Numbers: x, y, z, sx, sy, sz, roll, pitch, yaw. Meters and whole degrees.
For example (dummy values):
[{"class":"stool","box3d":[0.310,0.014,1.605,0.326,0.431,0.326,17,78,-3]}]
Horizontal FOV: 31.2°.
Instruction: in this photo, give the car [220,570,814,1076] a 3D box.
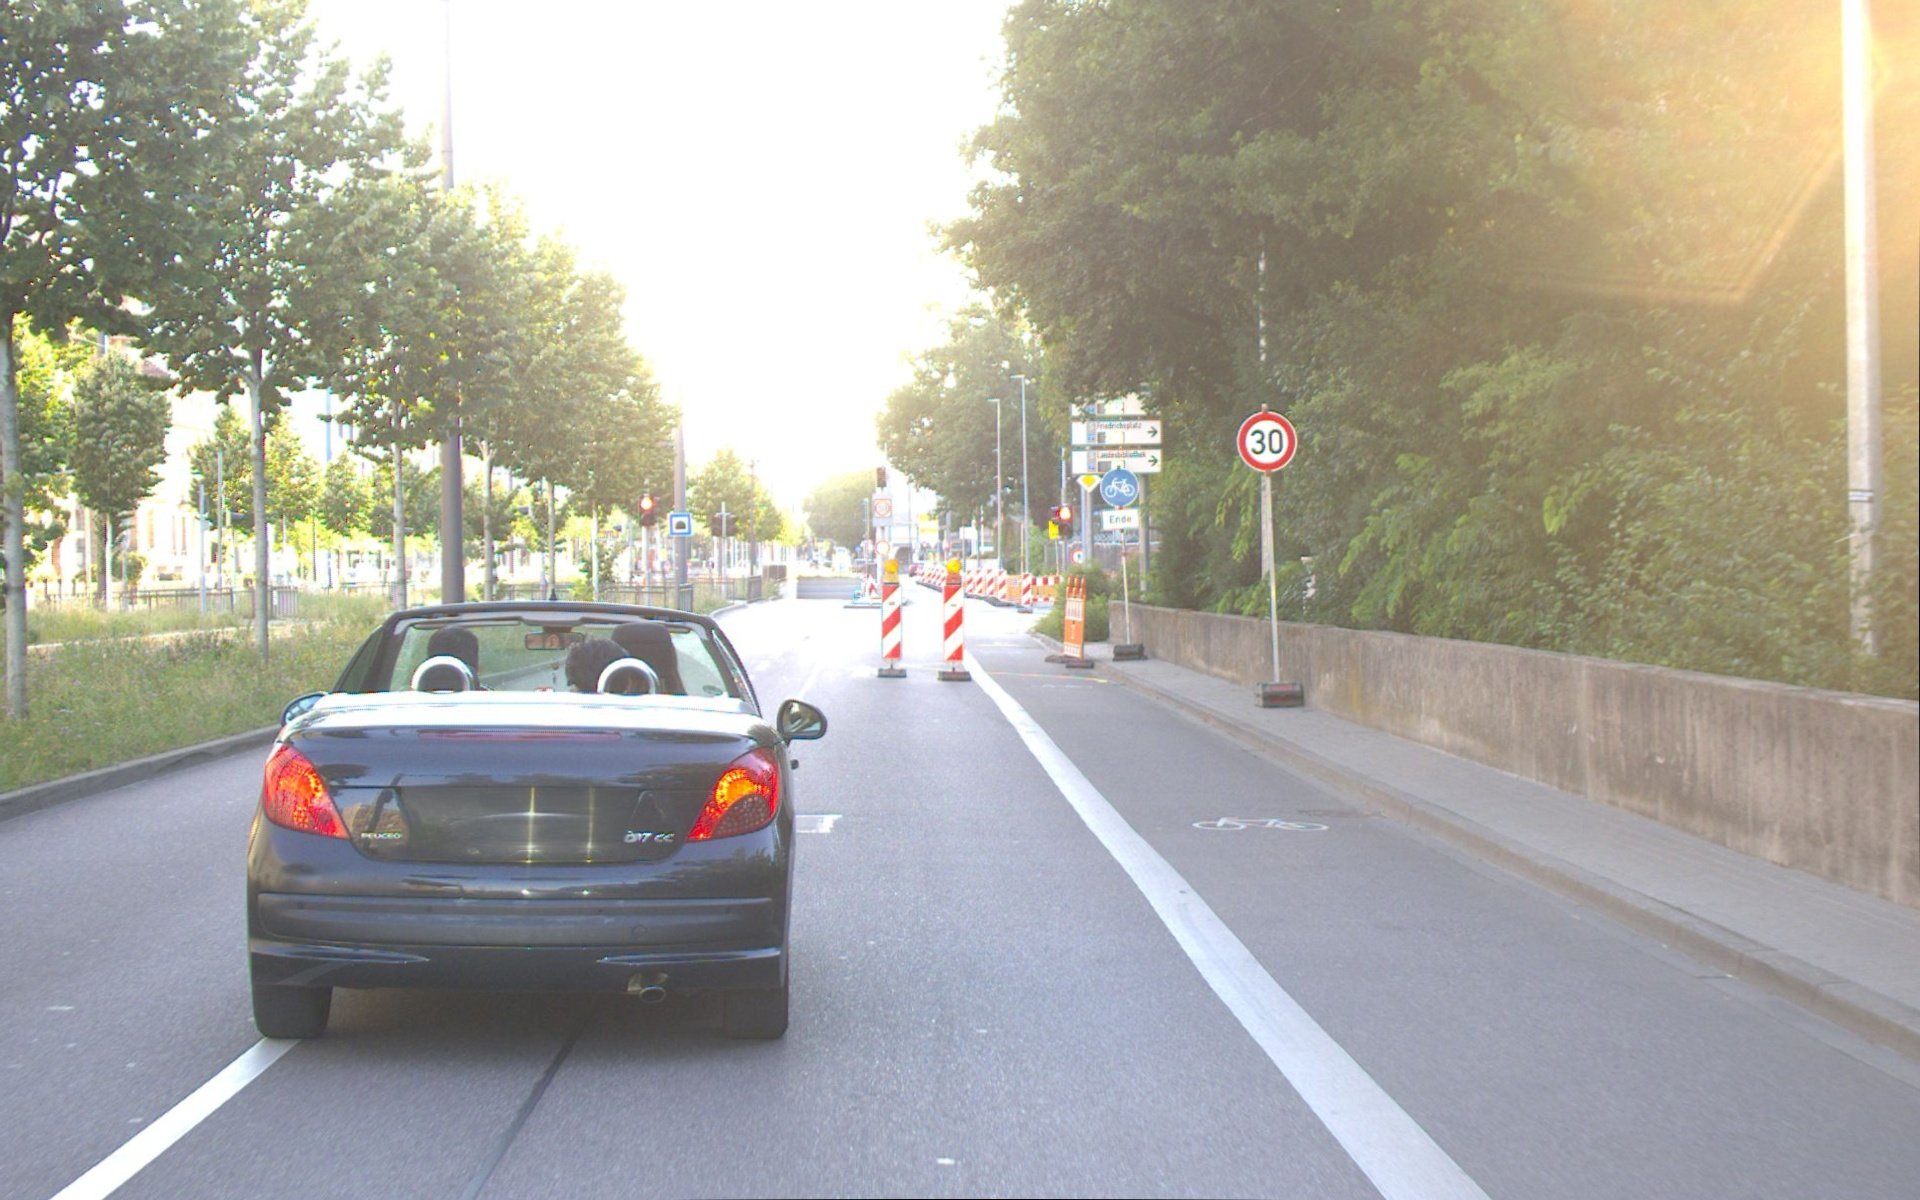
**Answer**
[{"class":"car","box3d":[-1.551,0.634,12.001,1.718,1.444,3.902,0,1,-8]}]
